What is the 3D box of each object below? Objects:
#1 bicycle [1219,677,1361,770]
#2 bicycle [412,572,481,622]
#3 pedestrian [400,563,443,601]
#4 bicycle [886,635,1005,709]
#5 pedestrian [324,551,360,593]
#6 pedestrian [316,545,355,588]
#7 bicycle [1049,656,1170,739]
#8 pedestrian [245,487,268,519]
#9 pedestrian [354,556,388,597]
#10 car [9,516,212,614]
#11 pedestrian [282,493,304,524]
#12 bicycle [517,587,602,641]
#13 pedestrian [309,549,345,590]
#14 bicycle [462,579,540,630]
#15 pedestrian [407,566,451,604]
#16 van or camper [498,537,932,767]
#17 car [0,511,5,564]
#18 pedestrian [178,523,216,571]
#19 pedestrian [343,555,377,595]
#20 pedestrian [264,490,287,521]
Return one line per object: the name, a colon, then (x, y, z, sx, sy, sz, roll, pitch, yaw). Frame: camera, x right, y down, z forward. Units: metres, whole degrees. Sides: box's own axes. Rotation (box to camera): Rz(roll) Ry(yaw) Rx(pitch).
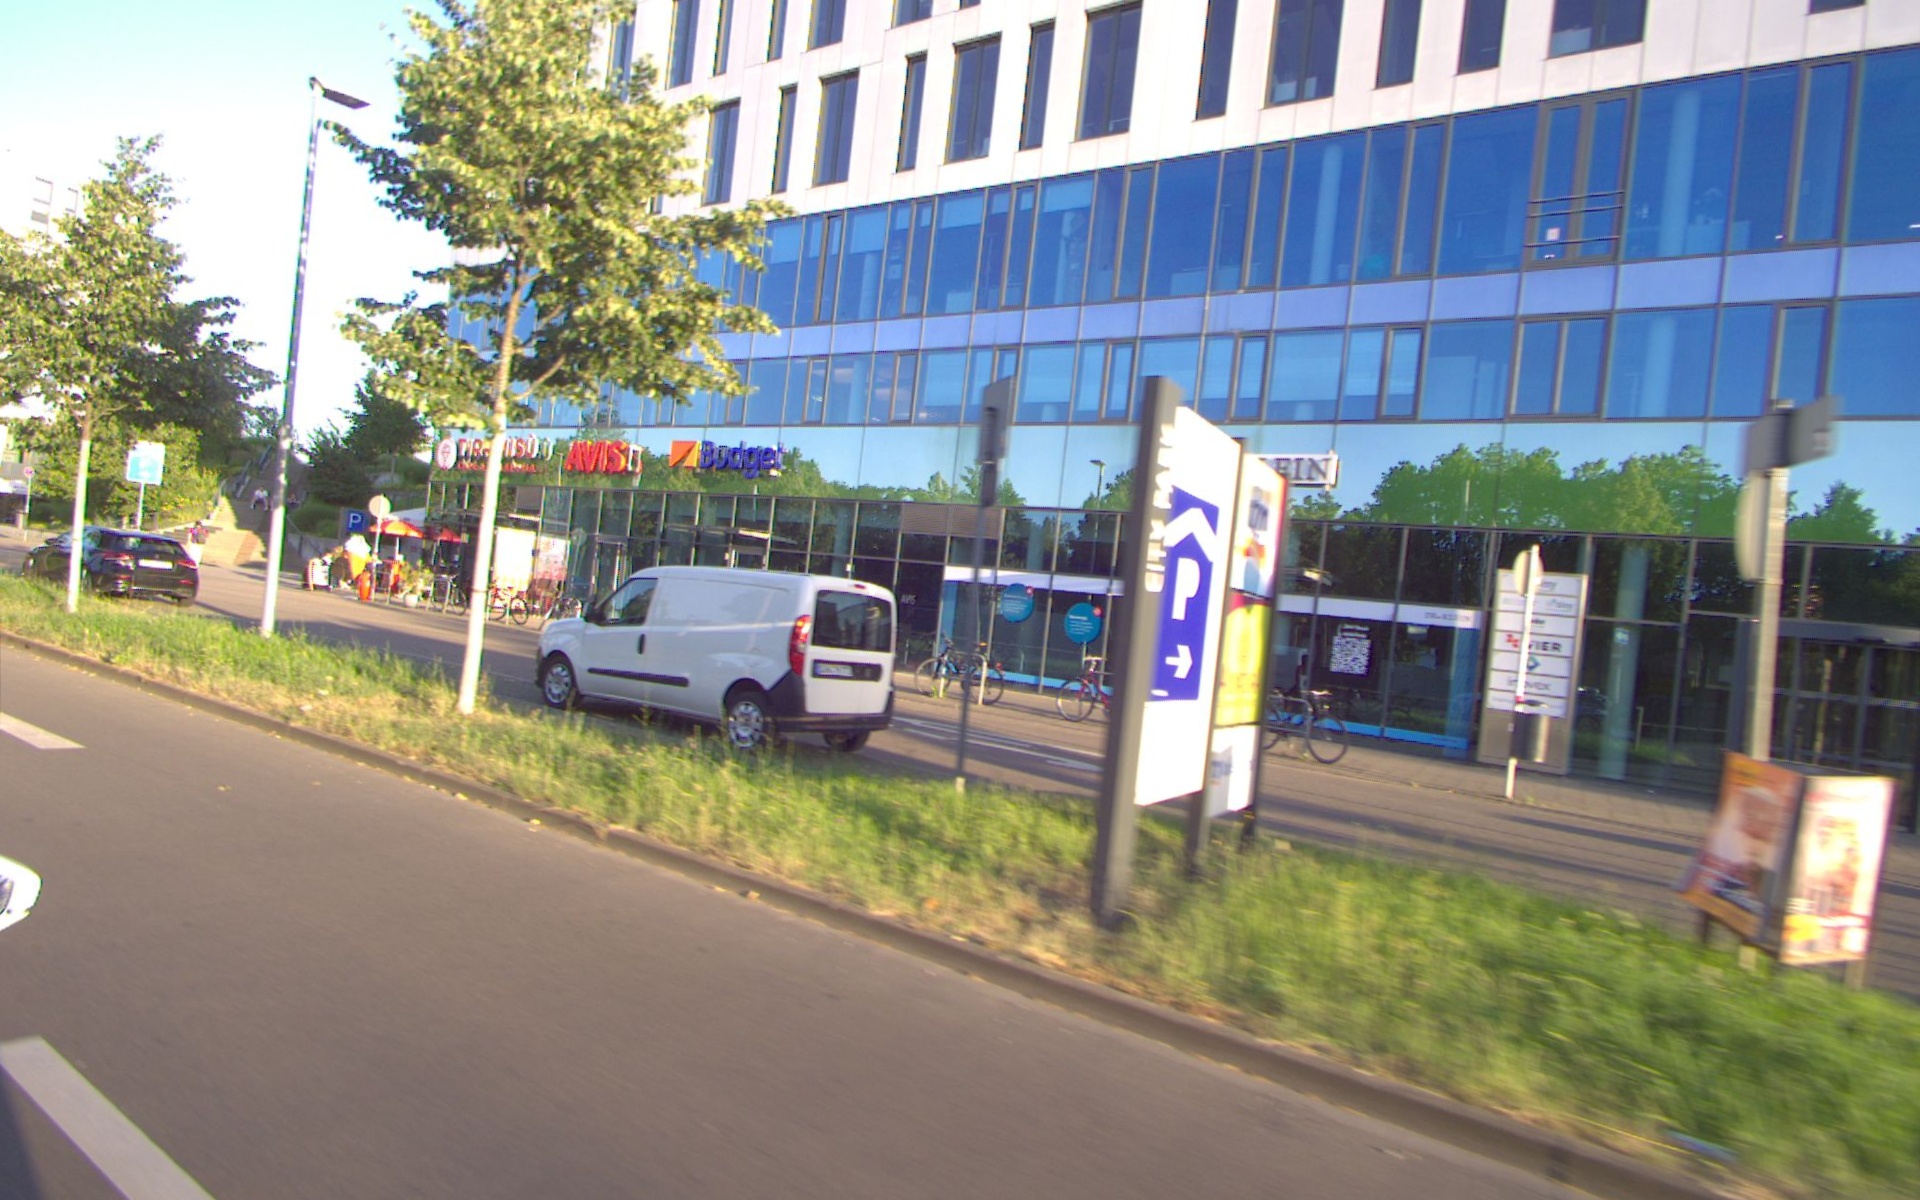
bicycle: (4.831, 1.780, 14.833, 1.851, 1.054, 0.527, 7, 2, 44)
bicycle: (-13.664, -0.091, 26.765, 1.841, 1.148, 0.640, 6, 2, 28)
pedestrian: (-17.486, -0.570, 32.674, 0.673, 1.140, 0.972, 6, 2, 32)
bicycle: (-0.277, 1.263, 18.062, 2.036, 1.054, 0.530, 6, 2, 26)
pedestrian: (-20.372, -0.930, 33.173, 0.675, 1.308, 0.774, 6, 2, 39)
pedestrian: (-21.660, -1.153, 34.907, 0.756, 1.384, 0.745, 6, 0, 21)
bicycle: (2.385, 1.541, 16.231, 1.892, 1.054, 0.527, 7, 2, 44)
pedestrian: (-34.562, -4.758, 49.445, 0.662, 1.397, 0.822, 8, -1, -26)
pedestrian: (-19.859, -0.773, 33.926, 0.617, 1.308, 0.684, 6, 2, 19)
car: (-17.424, -0.736, 20.594, 4.405, 1.519, 1.811, 6, -1, 32)
pedestrian: (-33.293, -4.559, 50.204, 0.662, 1.397, 0.822, 8, -1, -26)
bicycle: (-9.538, 0.323, 23.917, 2.036, 1.054, 0.597, 6, 2, 26)
pedestrian: (-21.095, -1.015, 33.552, 0.675, 1.308, 0.779, 6, 2, 39)
bicycle: (-11.672, 0.108, 25.552, 2.038, 1.077, 0.683, 6, 2, 29)
pedestrian: (-16.923, -0.476, 32.080, 0.673, 1.140, 0.972, 6, 2, 32)
van or camper: (-2.926, 0.511, 11.619, 4.751, 1.941, 1.962, 6, -2, 33)
car: (-29.334, -2.005, 28.524, 5.322, 1.519, 1.922, 6, -1, 32)
pedestrian: (-28.658, -1.993, 37.783, 1.061, 1.675, 0.695, 6, 0, 32)
pedestrian: (-20.609, -0.842, 34.549, 0.672, 1.308, 0.662, 5, 2, 0)
pedestrian: (-33.886, -4.662, 49.815, 0.662, 1.398, 0.821, 7, -1, -26)
